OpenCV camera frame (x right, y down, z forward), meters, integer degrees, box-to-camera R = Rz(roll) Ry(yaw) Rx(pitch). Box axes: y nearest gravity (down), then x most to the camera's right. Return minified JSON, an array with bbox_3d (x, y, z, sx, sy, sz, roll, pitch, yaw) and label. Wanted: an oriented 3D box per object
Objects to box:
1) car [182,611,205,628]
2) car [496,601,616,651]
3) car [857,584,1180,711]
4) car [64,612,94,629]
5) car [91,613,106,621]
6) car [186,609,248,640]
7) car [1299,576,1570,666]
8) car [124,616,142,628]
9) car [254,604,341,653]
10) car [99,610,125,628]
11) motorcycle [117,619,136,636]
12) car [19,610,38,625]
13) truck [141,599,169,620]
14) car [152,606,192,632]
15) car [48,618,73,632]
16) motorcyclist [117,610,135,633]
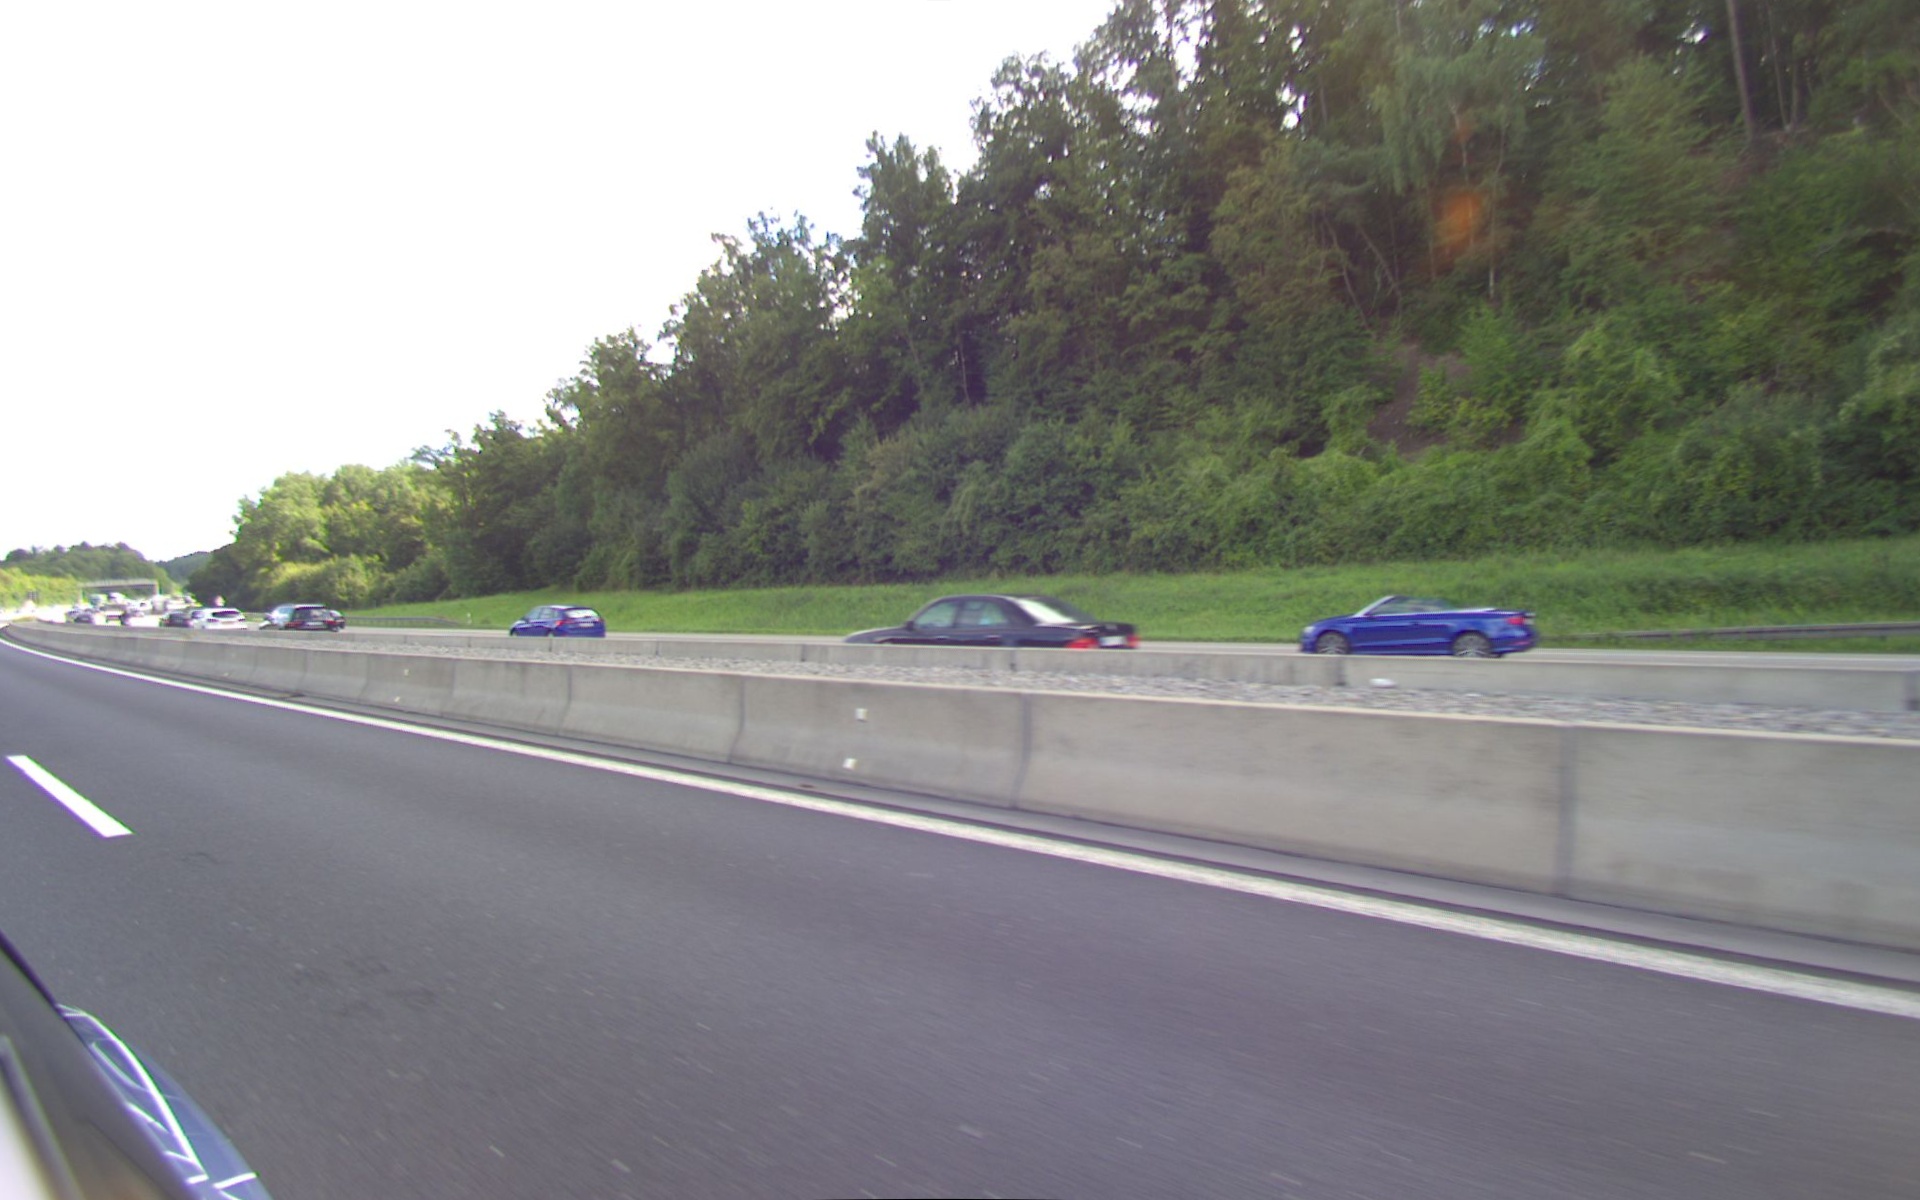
[{"bbox_3d":[-97.684,2.445,128.962,1.970,2.050,4.004,-1,0,-43],"label":"car"},{"bbox_3d":[-13.690,0.862,34.148,4.740,1.551,1.971,-1,0,44],"label":"car"},{"bbox_3d":[0.698,0.602,14.434,4.498,1.551,1.681,-1,0,41],"label":"car"},{"bbox_3d":[-89.083,2.031,102.338,4.780,1.639,1.971,0,0,45],"label":"car"},{"bbox_3d":[-168.162,3.393,197.619,2.012,1.504,5.045,-1,0,-42],"label":"car"},{"bbox_3d":[-37.120,1.207,50.538,4.296,1.471,1.741,-1,0,44],"label":"car"},{"bbox_3d":[9.291,0.395,20.022,4.554,1.586,1.787,-1,0,39],"label":"car"},{"bbox_3d":[-135.952,3.614,166.359,1.970,2.050,4.004,-1,0,-43],"label":"car"},{"bbox_3d":[-25.385,1.065,38.726,4.315,1.710,1.855,-1,0,44],"label":"car"},{"bbox_3d":[-107.473,2.400,128.216,2.174,2.146,8.085,-1,0,-43],"label":"car"},{"bbox_3d":[-60.951,1.970,73.965,0.911,1.197,2.642,-1,0,-43],"label":"motorcycle"},{"bbox_3d":[-129.648,2.484,140.855,1.970,2.050,4.004,-1,0,-43],"label":"car"},{"bbox_3d":[-164.187,1.886,206.344,3.409,4.158,13.695,-1,0,-42],"label":"truck"},{"bbox_3d":[-64.574,1.539,82.912,4.780,2.029,1.971,0,0,45],"label":"car"},{"bbox_3d":[-108.913,3.007,122.495,1.960,1.521,5.965,-1,0,-44],"label":"car"},{"bbox_3d":[-60.923,1.585,73.919,0.885,1.645,0.922,-1,0,-44],"label":"motorcyclist"}]
